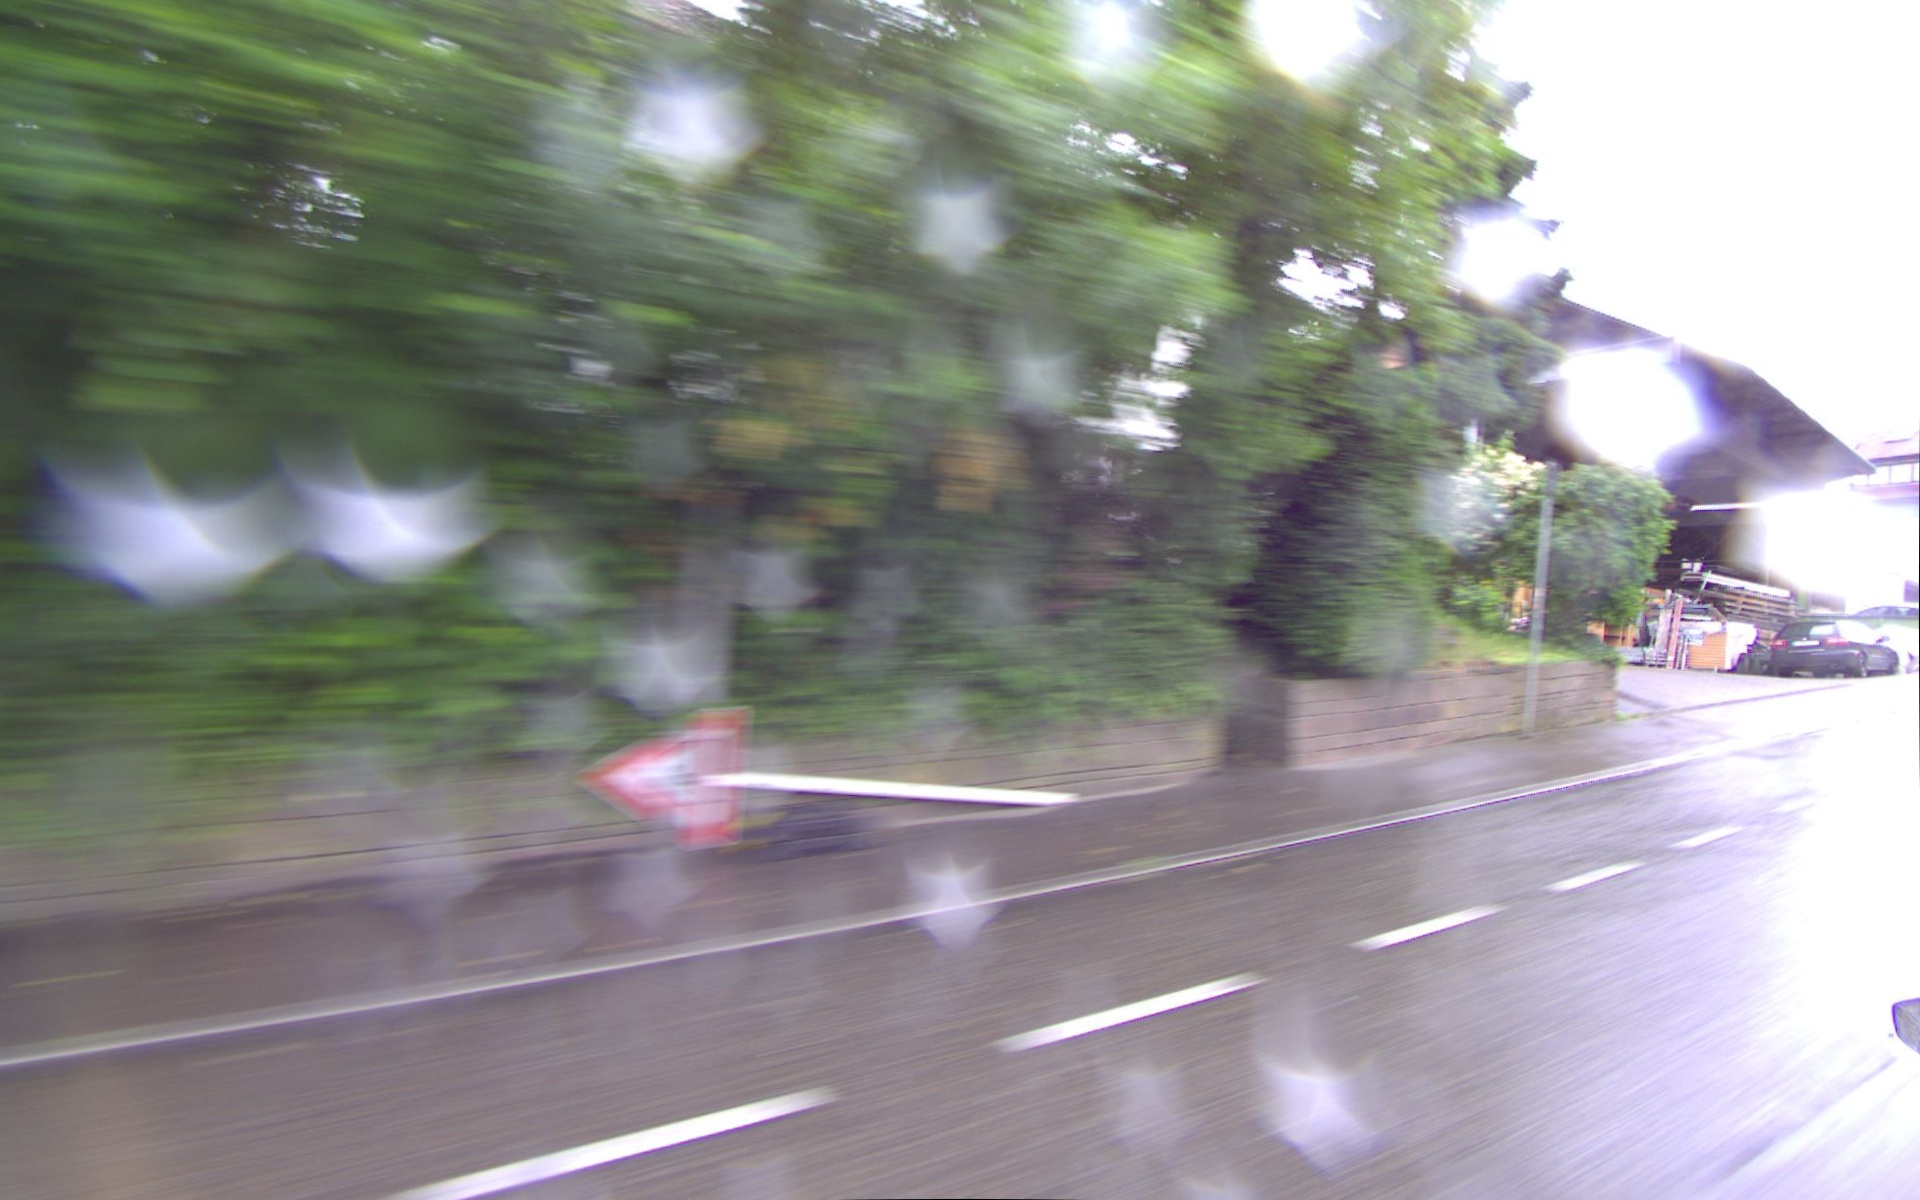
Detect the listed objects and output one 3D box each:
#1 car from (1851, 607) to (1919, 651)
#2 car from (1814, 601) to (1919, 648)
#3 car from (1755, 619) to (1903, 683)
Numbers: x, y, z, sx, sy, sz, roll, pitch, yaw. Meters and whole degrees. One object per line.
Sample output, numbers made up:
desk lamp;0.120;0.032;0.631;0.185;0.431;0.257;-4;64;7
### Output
car;35.259;1.080;36.092;1.874;1.525;4.484;0;1;-24
car;32.747;0.850;35.105;1.874;1.525;3.976;0;1;-24
car;22.153;1.241;25.566;4.401;1.460;1.882;0;-1;-35
